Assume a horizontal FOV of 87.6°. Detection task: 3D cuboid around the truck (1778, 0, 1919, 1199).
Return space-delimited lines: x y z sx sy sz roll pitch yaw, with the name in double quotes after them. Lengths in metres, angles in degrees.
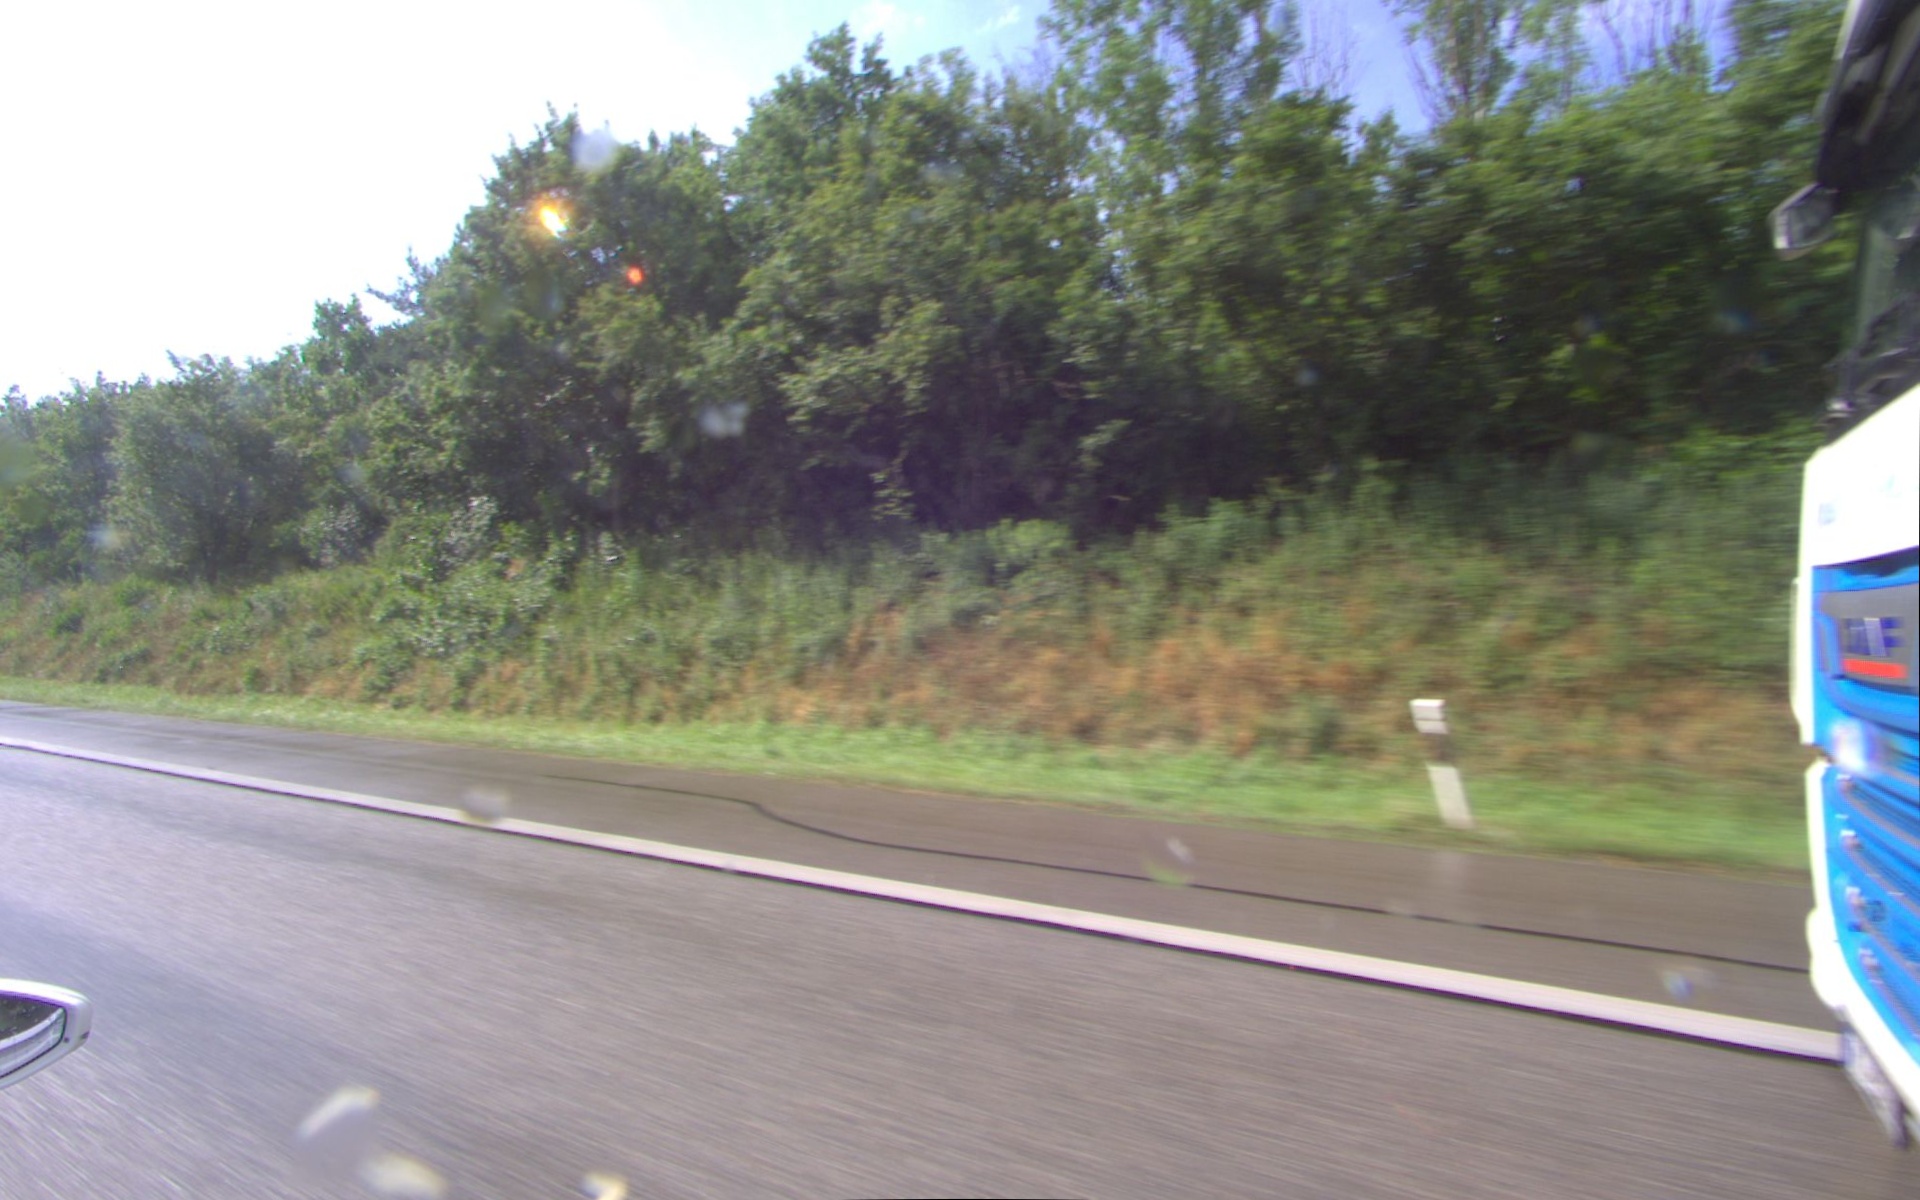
5.319 -0.557 0.562 7.186 4.047 2.602 -1 -1 32 "truck"
